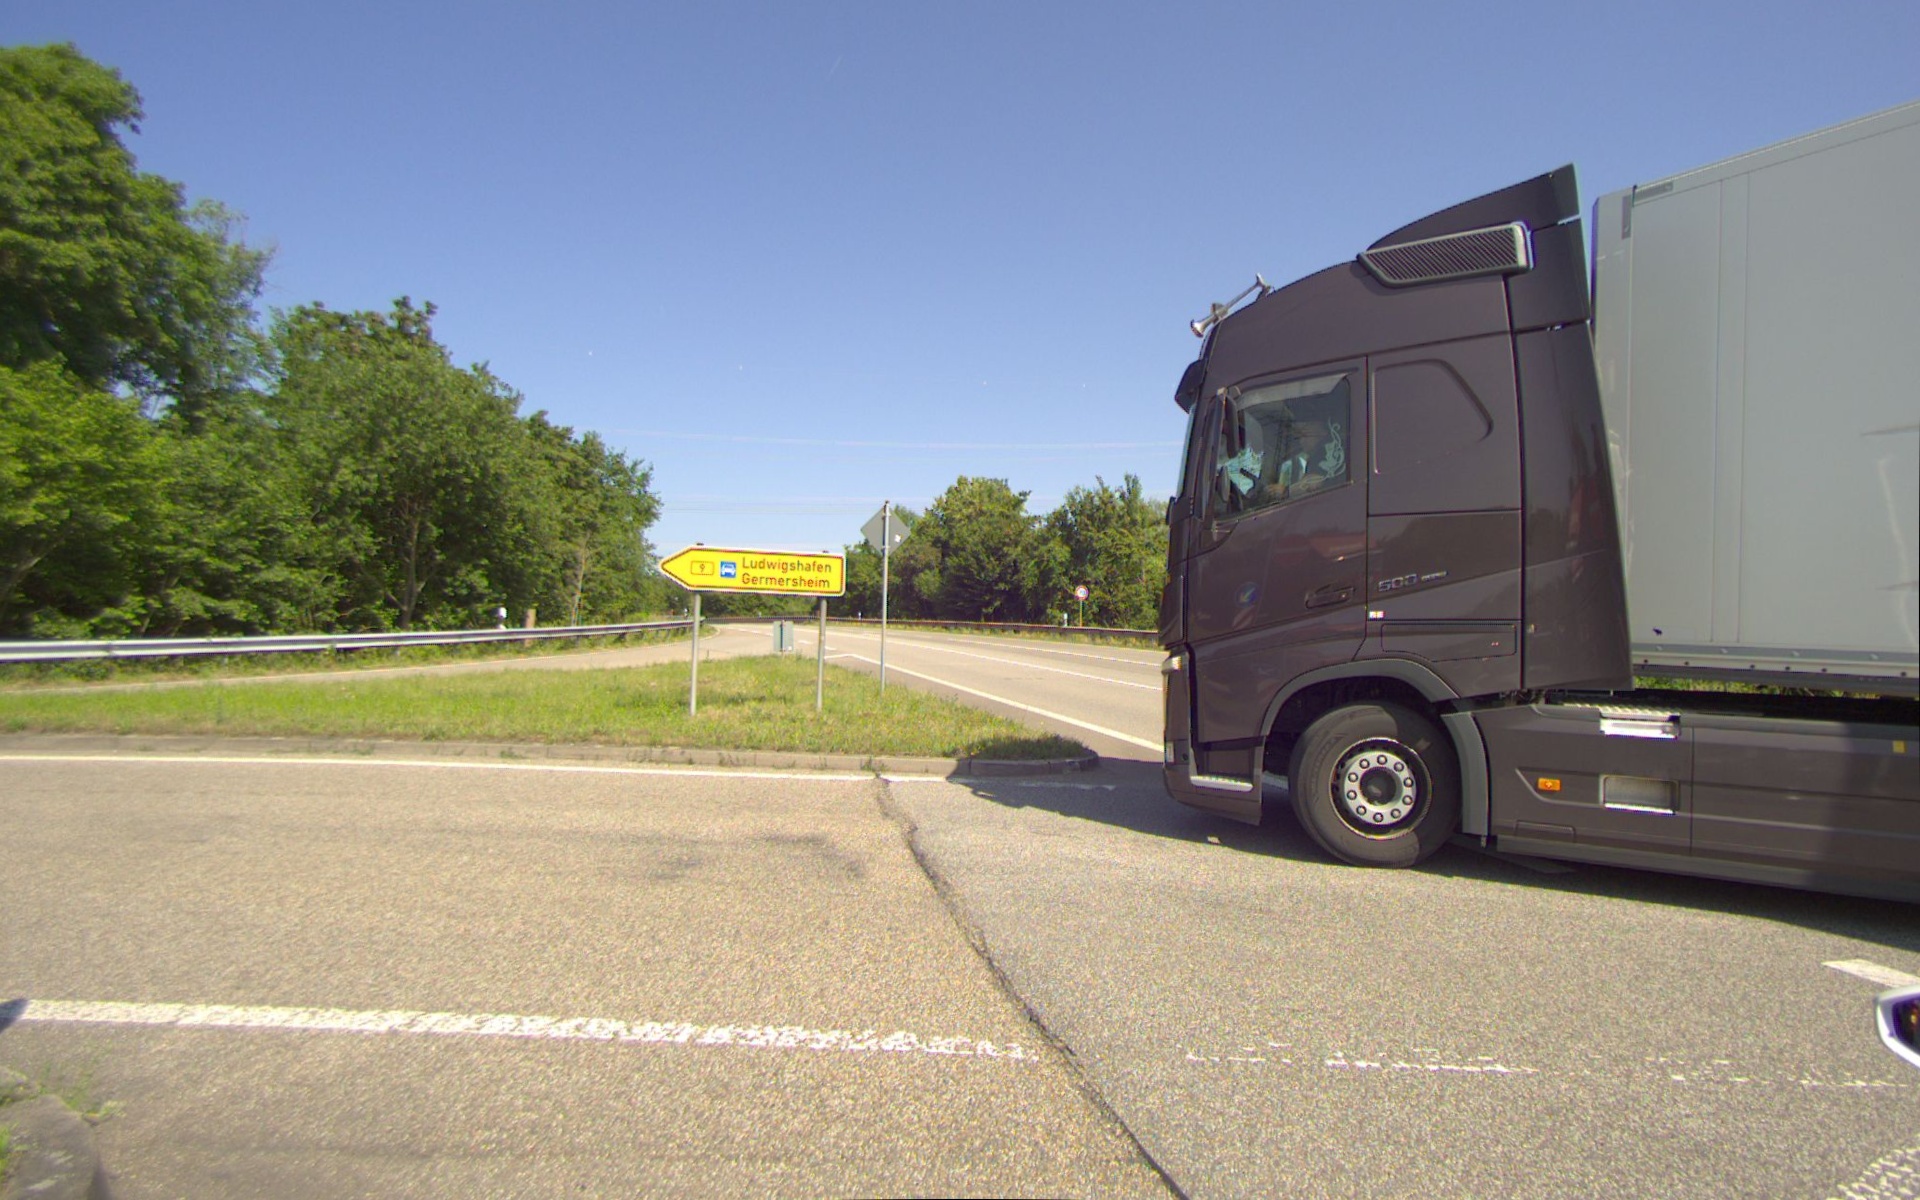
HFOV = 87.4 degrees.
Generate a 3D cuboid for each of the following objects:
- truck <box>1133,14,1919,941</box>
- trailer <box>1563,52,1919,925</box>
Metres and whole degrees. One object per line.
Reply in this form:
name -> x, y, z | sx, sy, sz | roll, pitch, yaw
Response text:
truck -> 4.411, -0.558, 6.233 | 5.865, 4.229, 2.874 | 2, 0, 31
trailer -> 8.618, -0.520, 1.130 | 2.864, 4.221, 13.859 | 1, 0, -32
